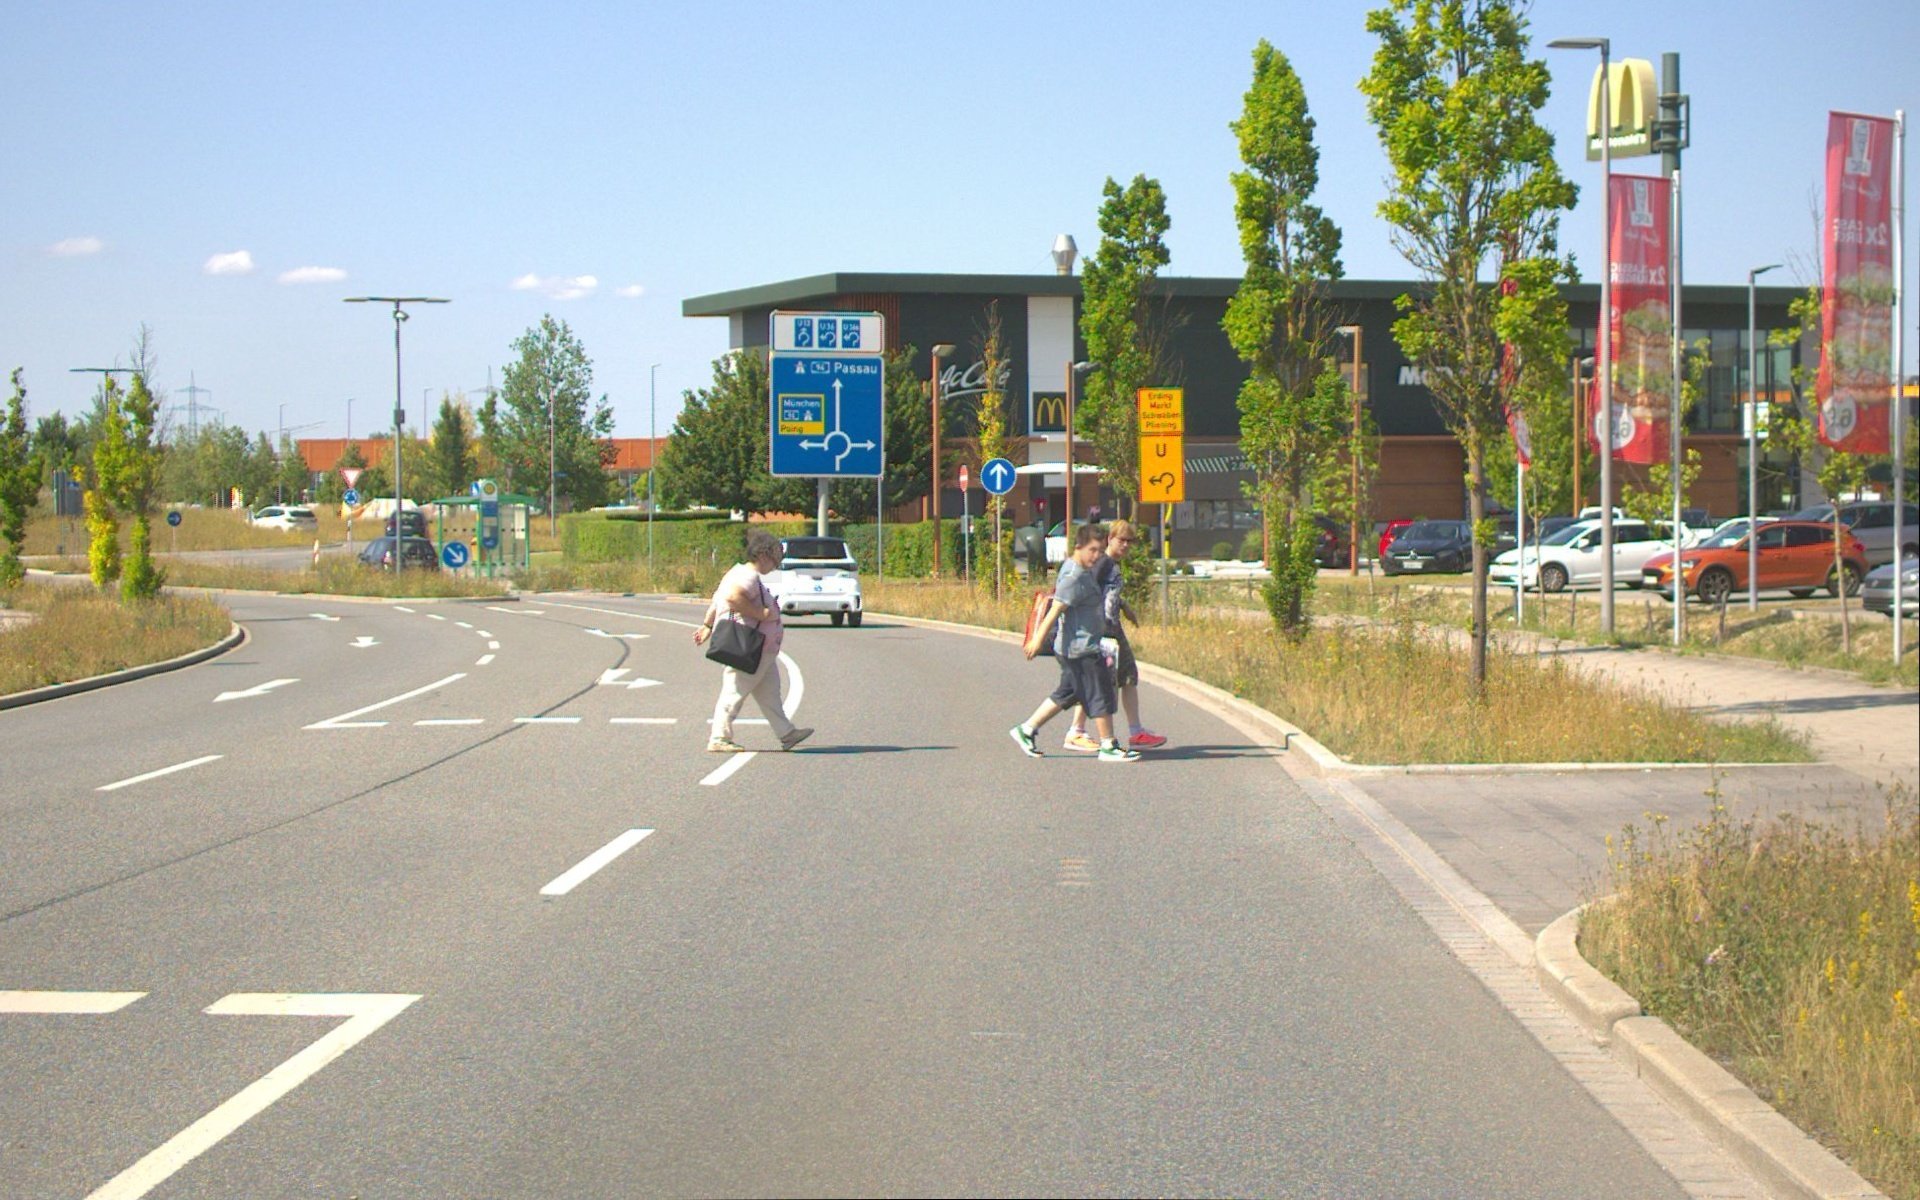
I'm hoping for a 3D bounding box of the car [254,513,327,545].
[{"bbox_3d":[-30.855,-3.287,158.367,1.993,1.459,4.000,-2,2,-31],"label":"car"}]

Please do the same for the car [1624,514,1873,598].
[{"bbox_3d":[14.896,-0.851,65.021,4.203,1.485,1.869,-1,2,-14],"label":"car"}]

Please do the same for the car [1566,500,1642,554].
[{"bbox_3d":[20.760,-2.361,110.687,1.794,1.696,3.996,0,1,20],"label":"car"}]

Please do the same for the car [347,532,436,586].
[{"bbox_3d":[-15.494,-1.142,93.645,1.616,1.429,3.793,-1,1,-22],"label":"car"}]

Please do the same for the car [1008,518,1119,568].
[{"bbox_3d":[3.014,-1.680,100.792,1.792,1.429,4.001,-1,1,-22],"label":"car"}]

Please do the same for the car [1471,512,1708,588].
[{"bbox_3d":[13.245,-1.075,72.358,4.524,1.485,1.869,-1,2,-14],"label":"car"}]

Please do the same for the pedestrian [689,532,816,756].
[{"bbox_3d":[-1.385,0.279,23.053,0.793,1.465,0.949,0,1,0],"label":"pedestrian"}]

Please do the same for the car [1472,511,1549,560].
[{"bbox_3d":[17.442,-2.051,108.831,1.794,1.508,3.997,0,1,18],"label":"car"}]

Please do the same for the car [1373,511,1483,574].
[{"bbox_3d":[11.289,-1.405,82.702,1.699,1.457,4.165,0,2,21],"label":"car"}]

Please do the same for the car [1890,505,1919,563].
[{"bbox_3d":[24.967,-1.718,88.038,1.787,1.446,4.165,0,2,21],"label":"car"}]

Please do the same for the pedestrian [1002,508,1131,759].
[{"bbox_3d":[0.698,0.207,22.736,0.809,1.622,0.866,0,1,0],"label":"pedestrian"}]

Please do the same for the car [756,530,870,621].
[{"bbox_3d":[-2.452,-0.435,56.698,1.616,1.429,3.793,0,1,-7],"label":"car"}]

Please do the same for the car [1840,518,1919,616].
[{"bbox_3d":[16.667,-0.586,55.191,4.554,1.485,1.869,-1,2,-11],"label":"car"}]

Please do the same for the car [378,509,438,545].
[{"bbox_3d":[-23.042,-3.054,143.701,1.993,1.435,4.001,-1,2,-2],"label":"car"}]

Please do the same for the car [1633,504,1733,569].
[{"bbox_3d":[18.015,-1.597,85.550,1.787,1.574,4.165,0,1,21],"label":"car"}]

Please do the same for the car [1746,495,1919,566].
[{"bbox_3d":[20.891,-1.653,81.472,4.154,1.629,1.792,-1,1,-23],"label":"car"}]

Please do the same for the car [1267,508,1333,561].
[{"bbox_3d":[10.575,-2.053,106.830,1.793,1.599,3.999,0,1,9],"label":"car"}]

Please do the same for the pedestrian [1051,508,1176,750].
[{"bbox_3d":[1.048,0.186,23.564,0.801,1.624,0.805,0,1,0],"label":"pedestrian"}]

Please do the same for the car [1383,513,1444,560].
[{"bbox_3d":[14.215,-1.993,107.615,1.793,1.429,3.999,0,1,9],"label":"car"}]
